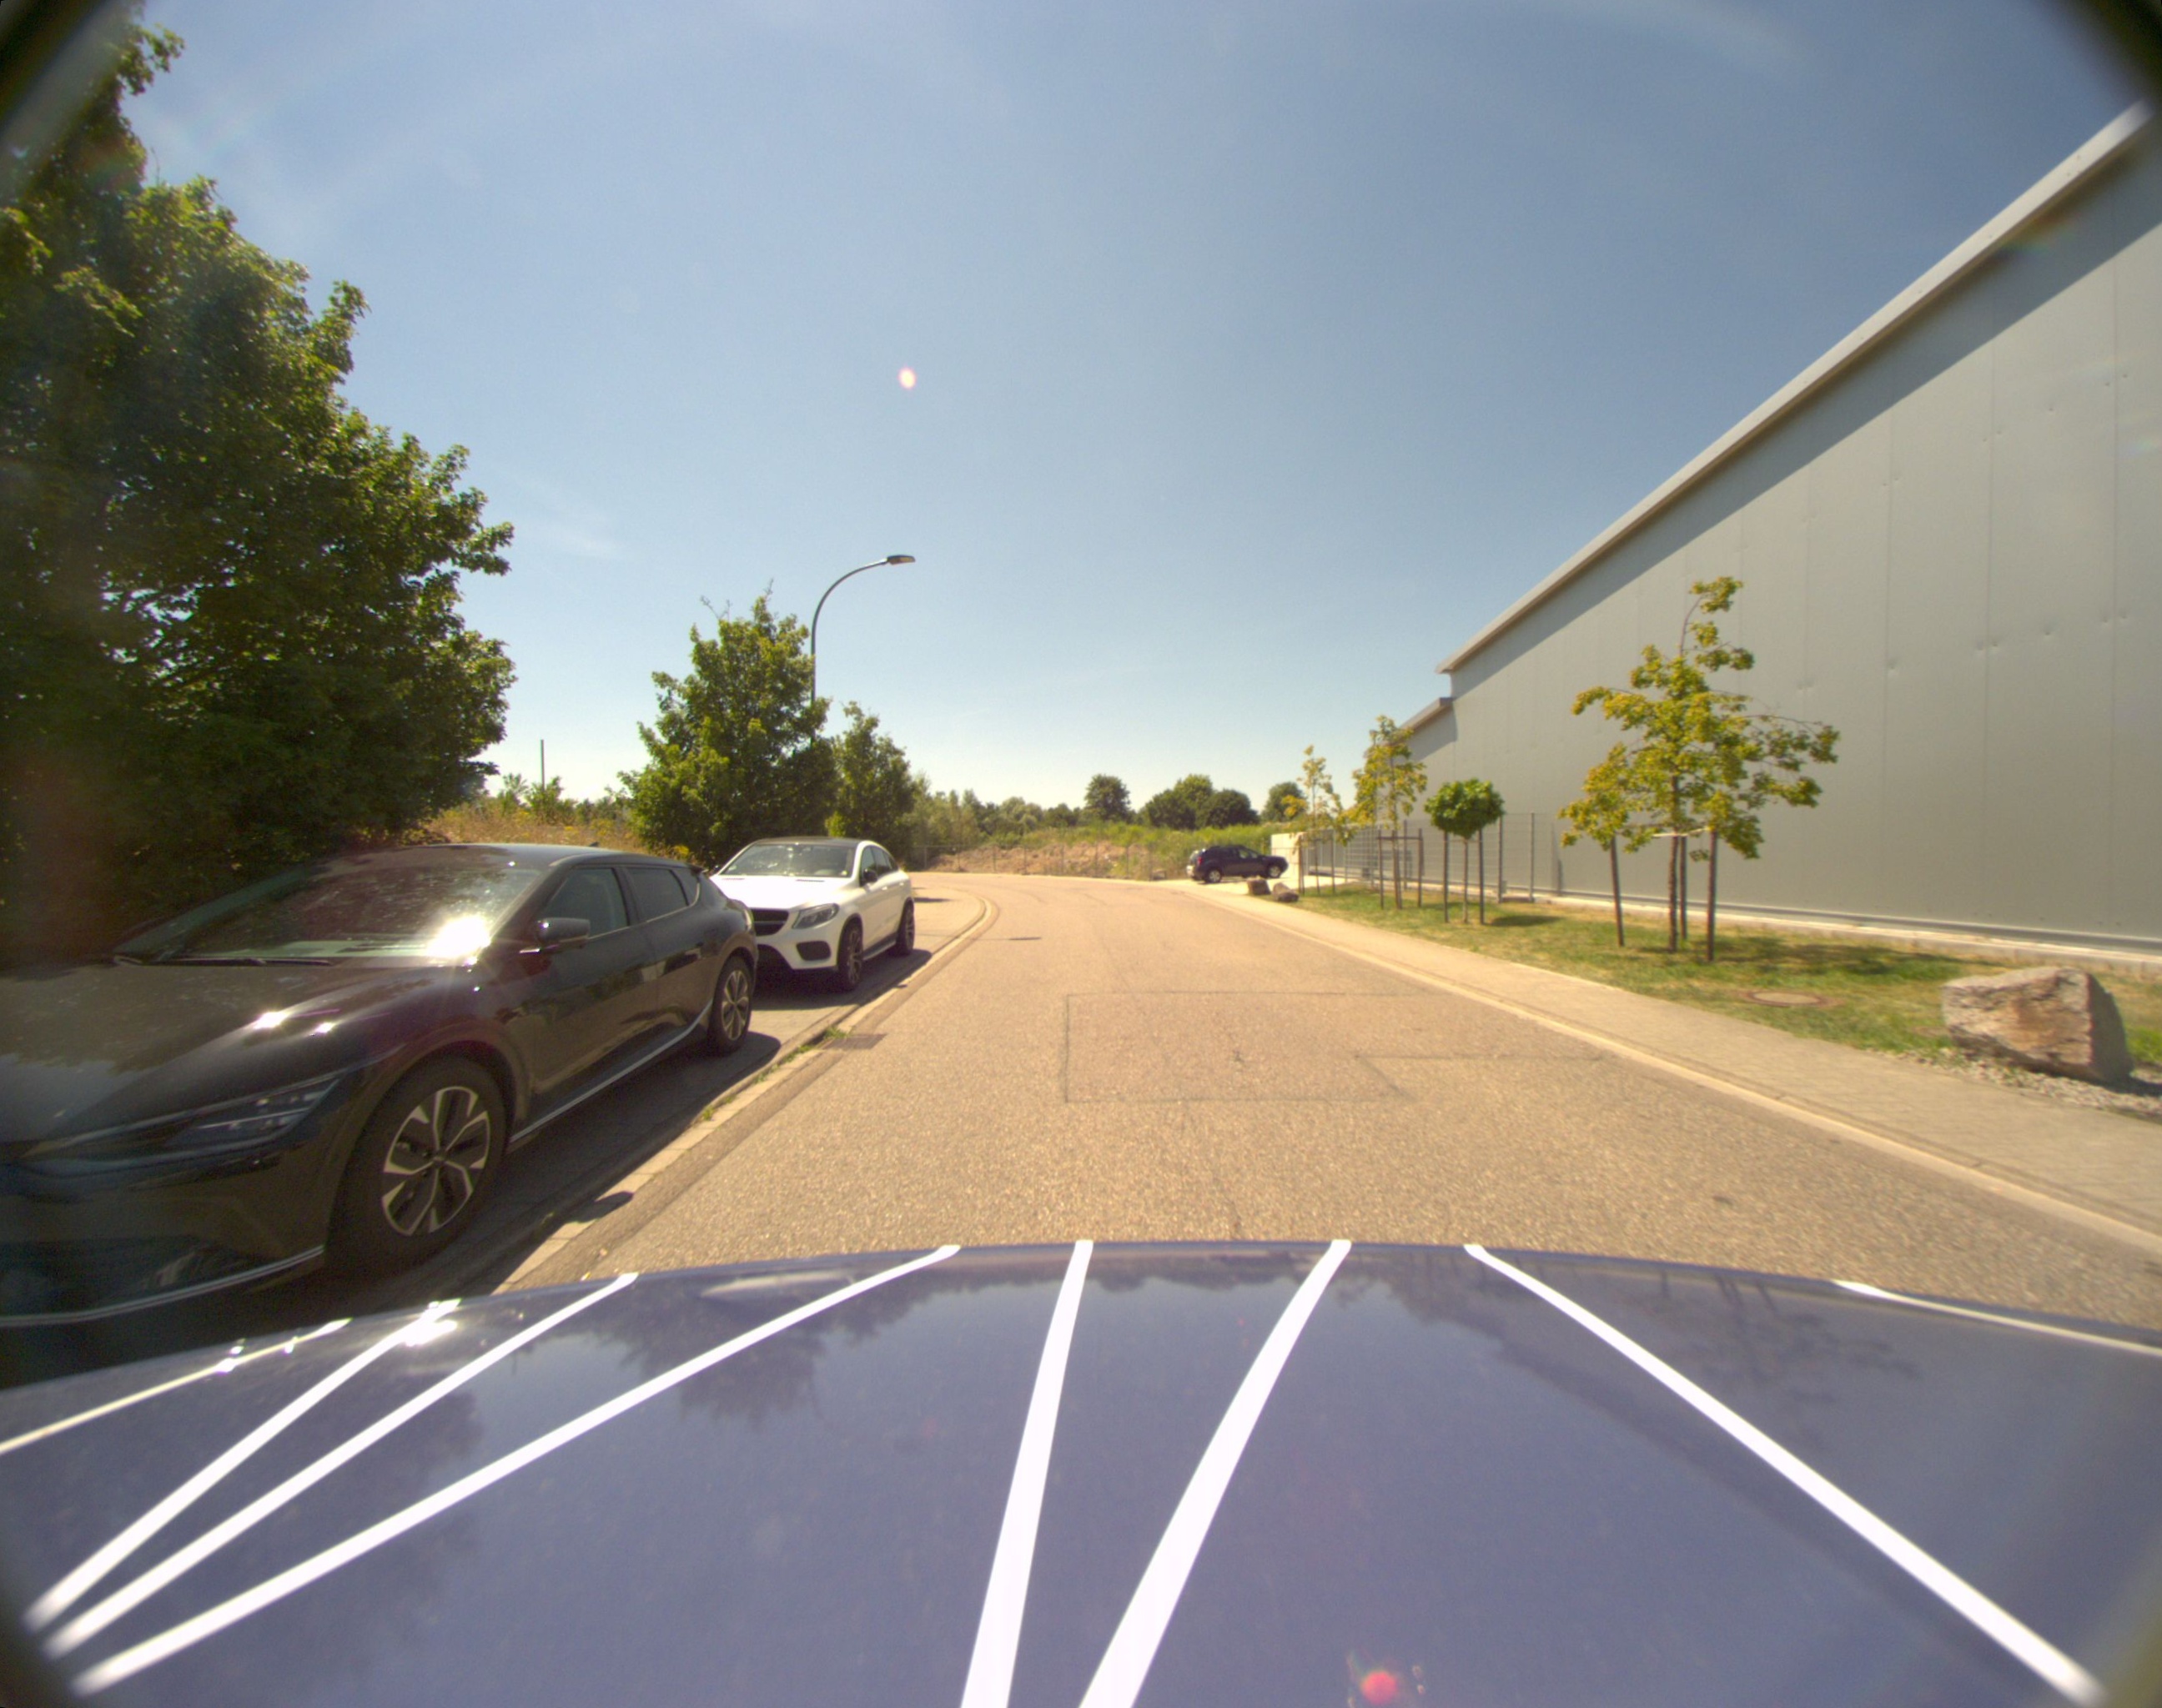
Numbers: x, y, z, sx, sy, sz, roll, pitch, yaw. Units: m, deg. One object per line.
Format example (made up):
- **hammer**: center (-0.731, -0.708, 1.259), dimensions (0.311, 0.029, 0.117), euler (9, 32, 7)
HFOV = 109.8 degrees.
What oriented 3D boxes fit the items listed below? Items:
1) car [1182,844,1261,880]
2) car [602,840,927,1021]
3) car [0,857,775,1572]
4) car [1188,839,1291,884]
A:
- **car**: center (6.846, 0.372, 37.210), dimensions (3.369, 1.453, 1.781), euler (-5, 1, -2)
- **car**: center (-3.528, 0.716, 9.698), dimensions (2.149, 1.689, 4.784), euler (1, 1, 0)
- **car**: center (-3.366, 0.838, 3.975), dimensions (1.909, 1.520, 4.627), euler (1, 1, -4)
- **car**: center (7.144, 0.316, 34.554), dimensions (4.173, 1.649, 1.781), euler (-5, 1, 0)
